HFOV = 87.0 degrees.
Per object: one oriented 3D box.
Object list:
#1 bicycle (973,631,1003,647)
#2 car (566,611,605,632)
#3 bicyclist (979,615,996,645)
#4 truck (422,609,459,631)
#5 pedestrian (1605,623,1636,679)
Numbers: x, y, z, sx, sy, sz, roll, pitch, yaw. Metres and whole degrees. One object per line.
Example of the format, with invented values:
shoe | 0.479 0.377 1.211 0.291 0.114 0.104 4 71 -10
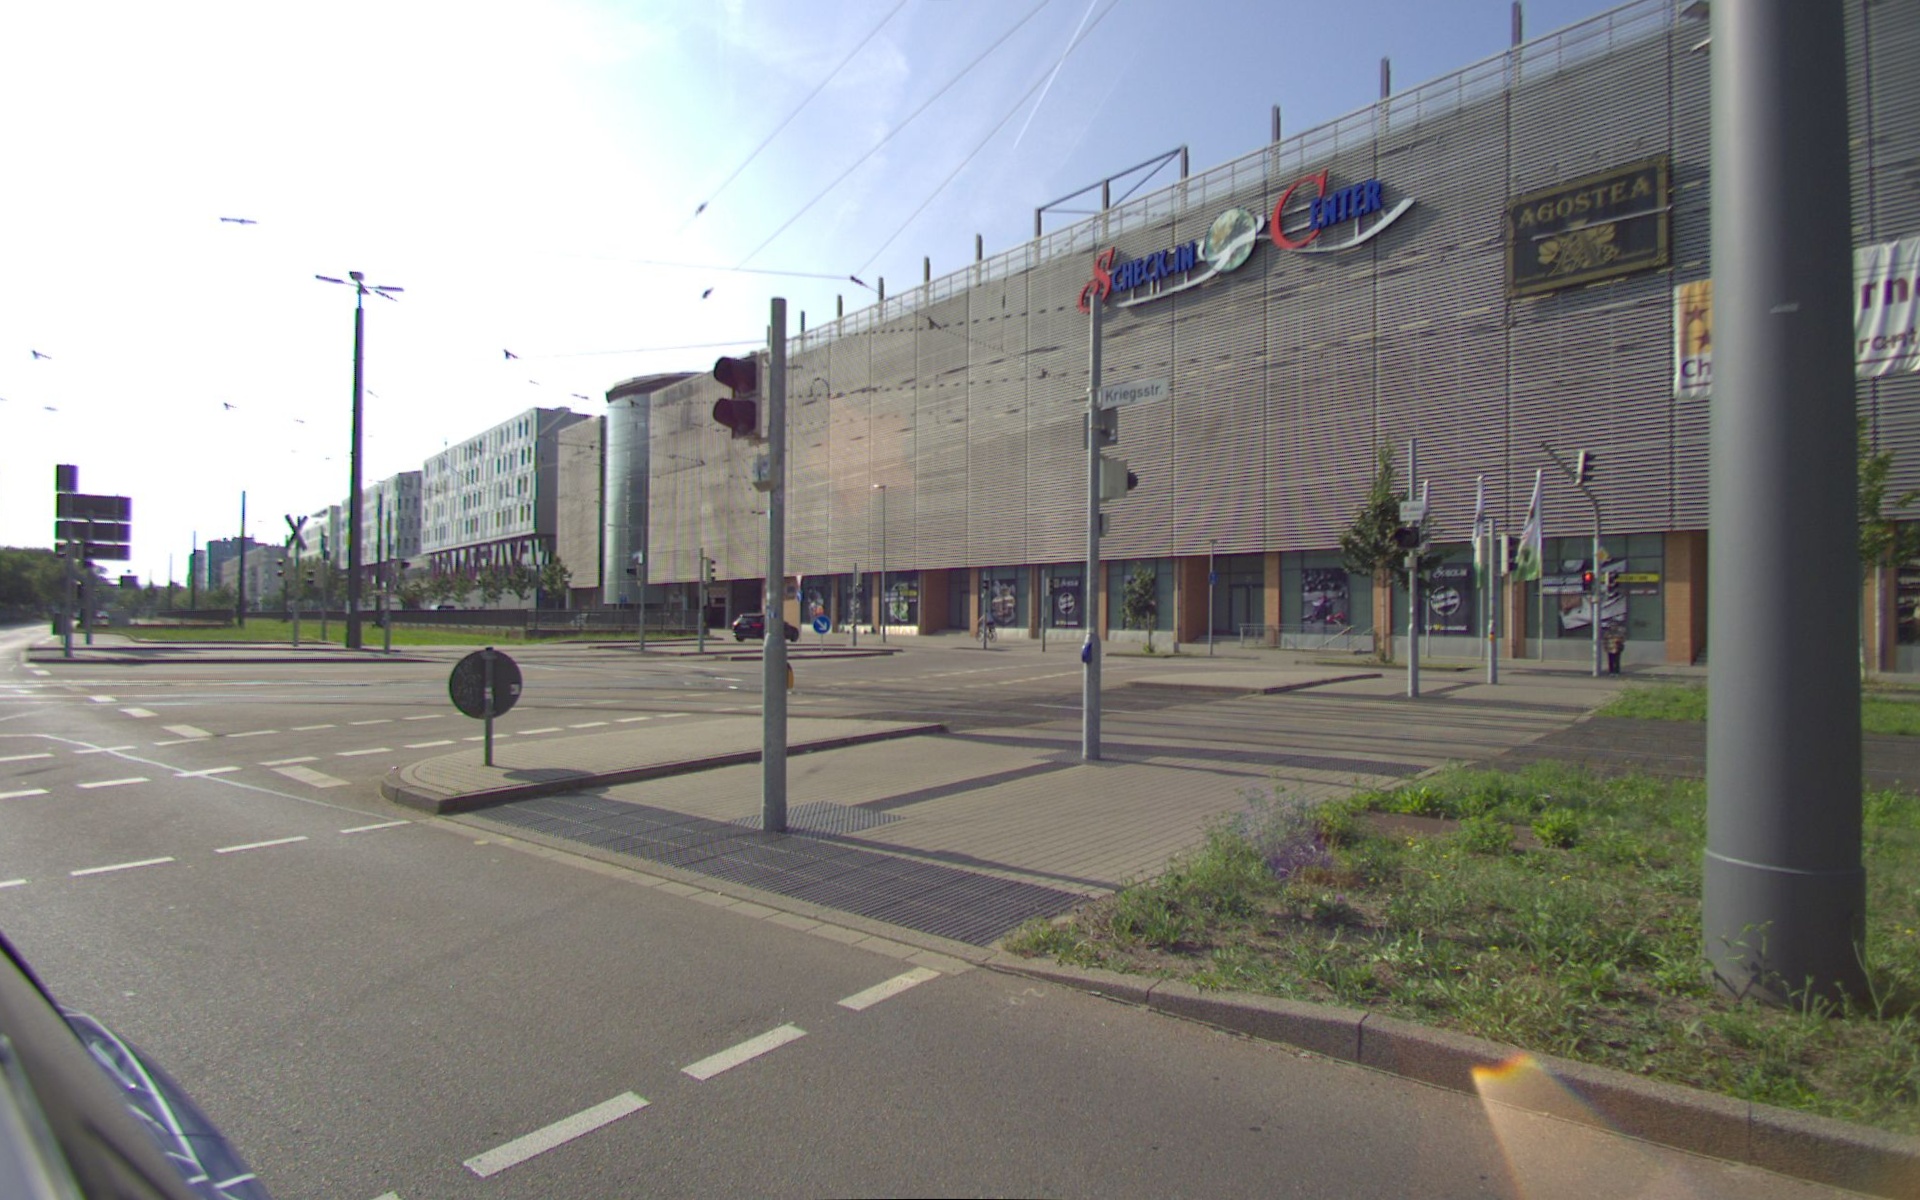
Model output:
bicycle | 1.512 2.132 55.518 0.573 0.785 1.873 2 -1 -38
car | -29.665 1.704 80.159 1.716 1.571 3.407 2 -1 -42
bicyclist | 1.534 1.657 55.522 0.559 1.642 0.716 2 -1 -38
truck | -56.102 2.191 109.298 4.553 2.339 2.175 -1 -2 44
pedestrian | 19.145 1.476 29.337 0.590 1.591 0.752 -1 -2 45
